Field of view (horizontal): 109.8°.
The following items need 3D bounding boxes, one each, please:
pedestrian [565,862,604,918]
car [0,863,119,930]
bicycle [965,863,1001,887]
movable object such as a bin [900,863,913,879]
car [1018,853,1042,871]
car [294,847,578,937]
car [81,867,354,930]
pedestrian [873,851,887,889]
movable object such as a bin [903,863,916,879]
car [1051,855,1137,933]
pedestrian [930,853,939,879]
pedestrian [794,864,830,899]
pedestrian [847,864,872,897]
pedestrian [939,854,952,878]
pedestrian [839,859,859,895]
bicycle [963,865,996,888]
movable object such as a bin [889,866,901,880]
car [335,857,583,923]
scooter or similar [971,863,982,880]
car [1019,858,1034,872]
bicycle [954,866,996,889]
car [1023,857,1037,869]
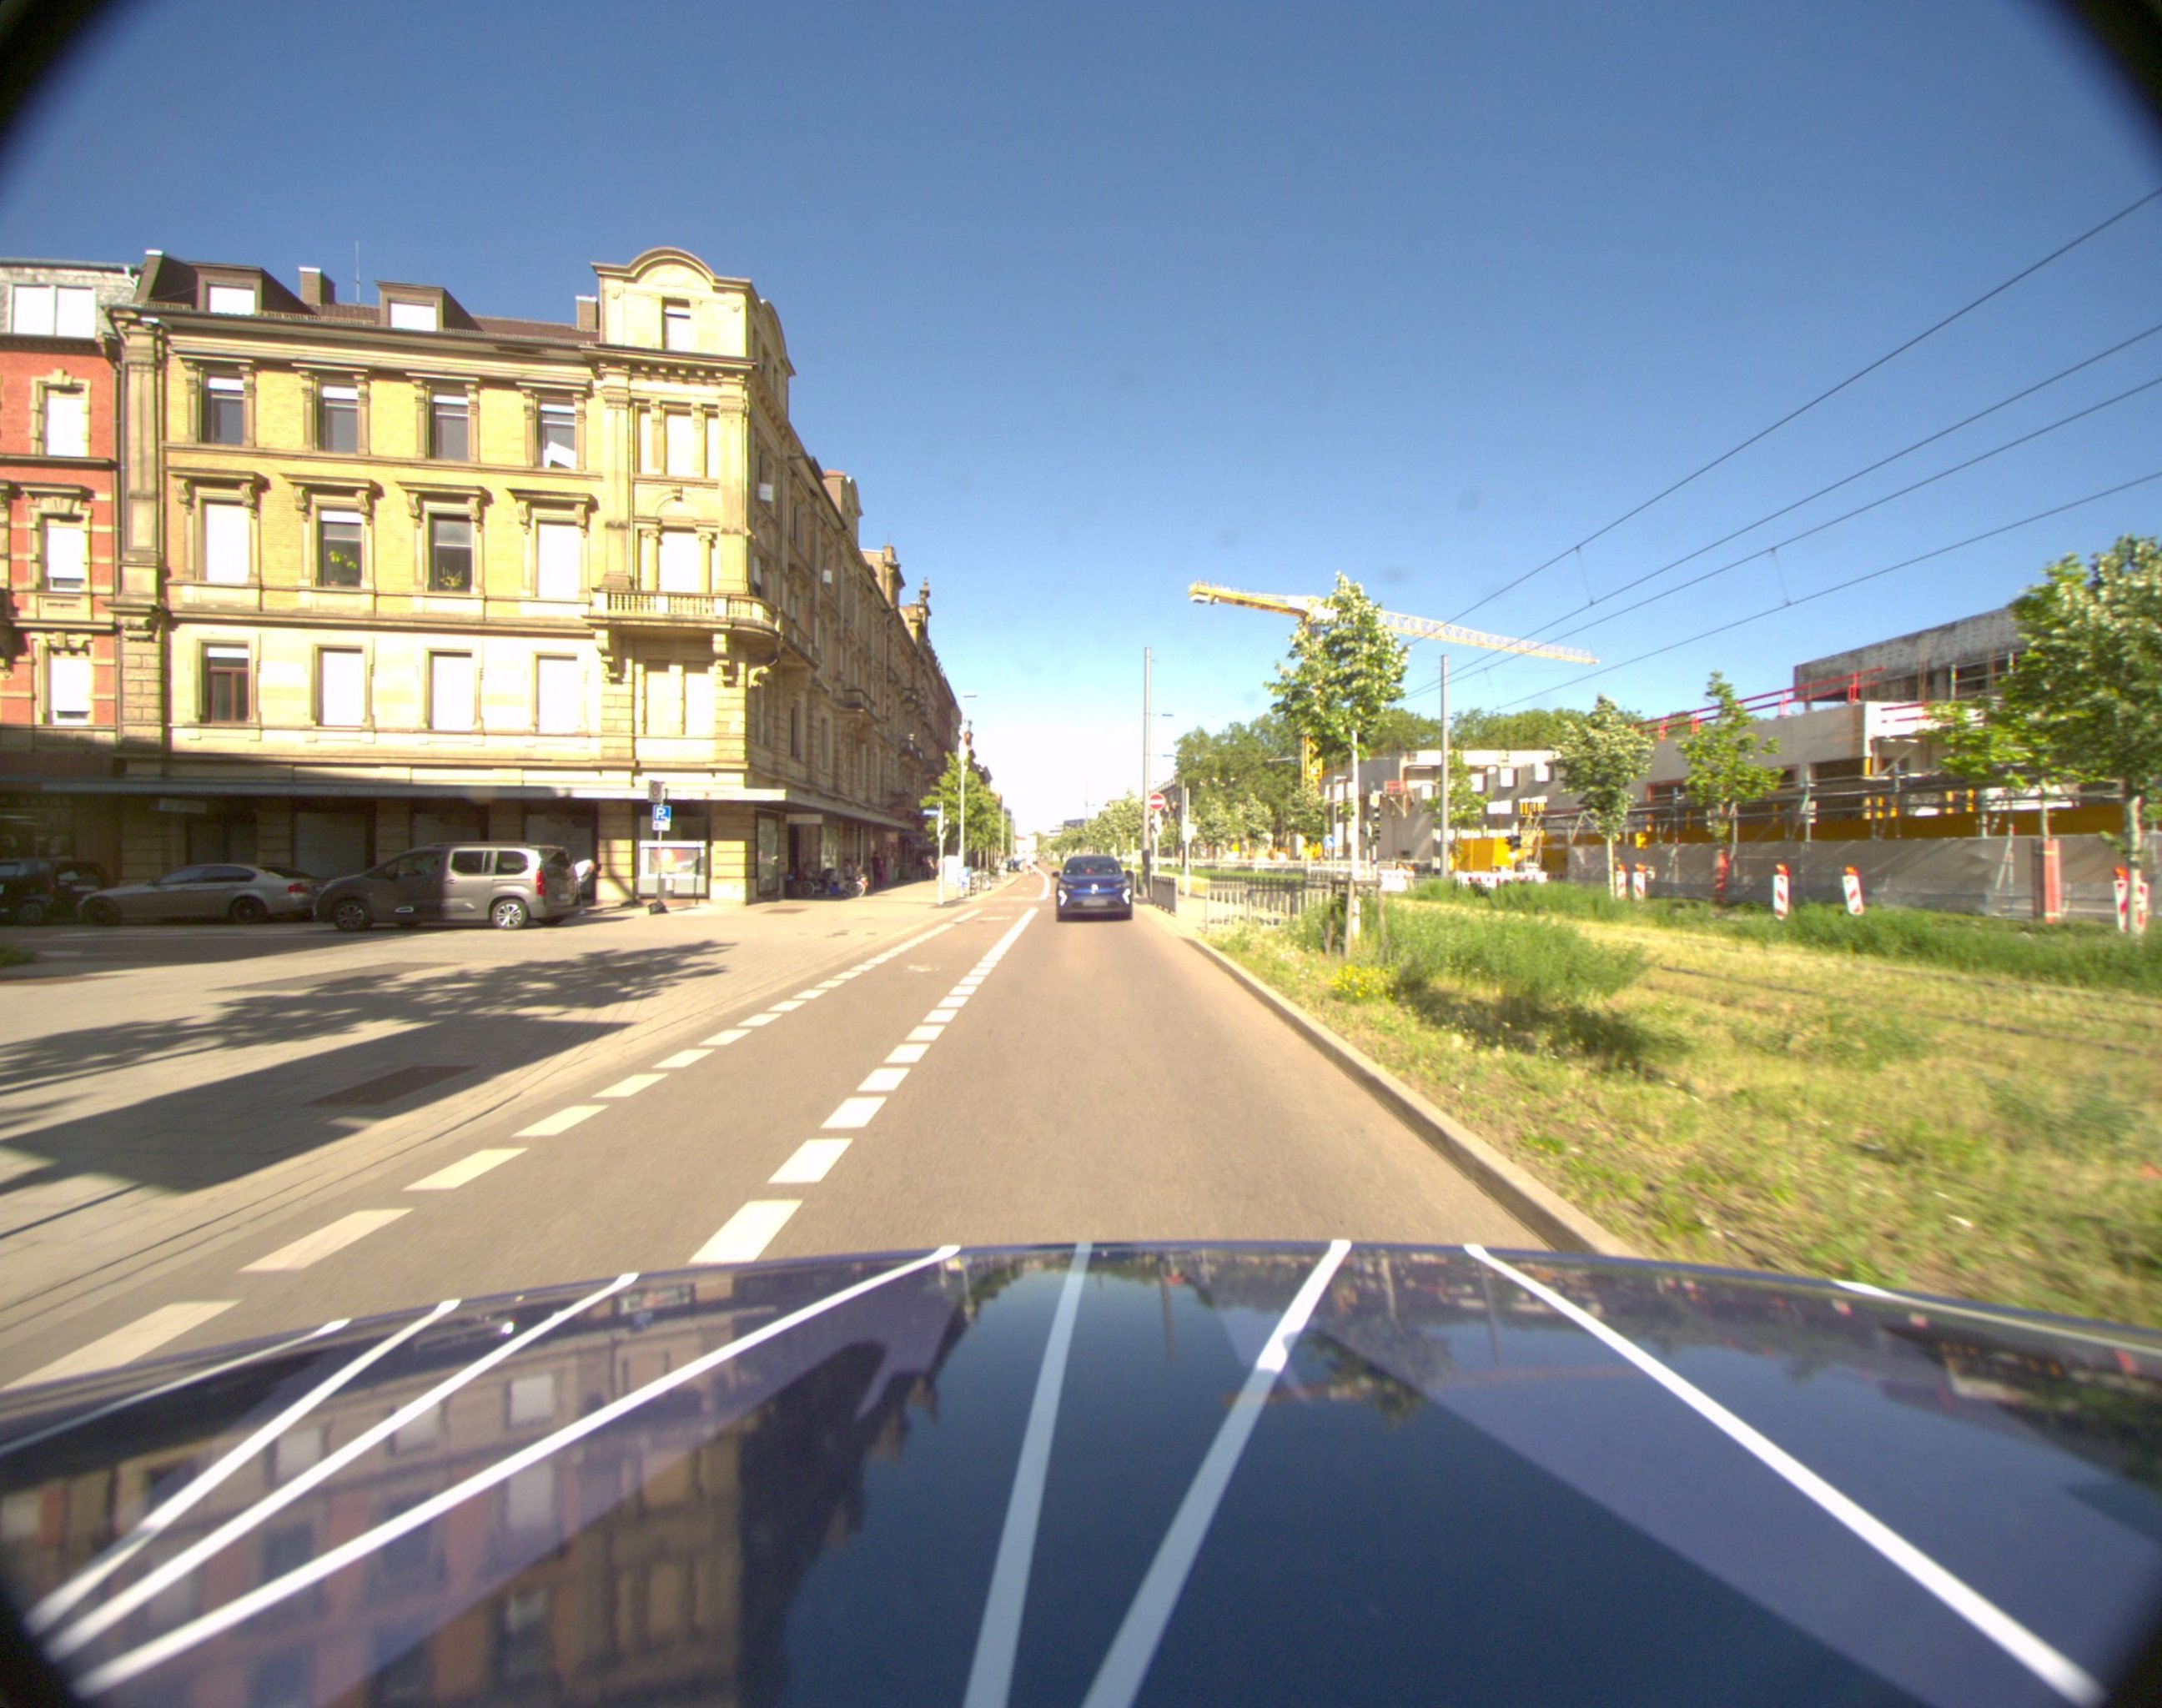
[{"bbox_3d":[-13.246,0.953,20.273,0.683,1.442,0.543,0,2,-7],"label":"pedestrian"},{"bbox_3d":[-24.505,0.949,17.457,2.791,1.486,1.304,0,0,-11],"label":"car"},{"bbox_3d":[-5.389,1.160,41.831,1.870,1.244,0.691,2,1,-3],"label":"bicycle"},{"bbox_3d":[-11.249,1.119,49.027,0.692,1.007,0.587,2,1,2],"label":"movable object such as a bin"},{"bbox_3d":[-5.346,0.832,80.603,1.821,1.783,4.001,-2,1,6],"label":"car"},{"bbox_3d":[-13.312,0.741,15.958,4.168,1.742,1.816,0,0,-10],"label":"car"},{"bbox_3d":[-20.289,1.012,18.027,4.193,1.386,1.556,0,-1,-11],"label":"car"},{"bbox_3d":[-9.401,0.737,35.558,0.512,1.791,0.501,0,0,5],"label":"pedestrian"},{"bbox_3d":[-11.219,1.115,49.653,0.692,0.969,0.587,-1,1,2],"label":"movable object such as a bin"},{"bbox_3d":[0.412,0.843,17.973,1.748,1.613,4.154,-1,0,5],"label":"car"},{"bbox_3d":[-10.374,0.857,53.886,0.512,1.839,0.501,0,0,5],"label":"pedestrian"},{"bbox_3d":[-9.854,1.011,27.875,1.075,1.211,0.702,2,1,-3],"label":"pedestrian"},{"bbox_3d":[-8.531,1.012,29.237,0.718,1.211,0.647,2,1,3],"label":"pedestrian"},{"bbox_3d":[-9.209,0.812,51.676,0.753,1.575,0.808,2,0,-2],"label":"pedestrian"},{"bbox_3d":[-9.130,0.913,29.935,0.574,1.386,0.648,2,1,-4],"label":"pedestrian"},{"bbox_3d":[-5.363,1.188,40.148,1.668,1.104,0.602,2,1,-10],"label":"bicycle"},{"bbox_3d":[-11.389,1.165,46.495,0.606,0.861,0.476,2,1,2],"label":"movable object such as a bin"},{"bbox_3d":[-15.273,0.843,18.925,4.409,1.535,1.851,0,0,-10],"label":"car"},{"bbox_3d":[-7.568,1.295,54.939,0.673,1.213,0.327,0,0,20],"label":"scooter or similar"},{"bbox_3d":[-6.647,1.293,92.524,1.670,1.574,3.748,-2,1,-2],"label":"car"},{"bbox_3d":[-5.393,1.183,38.871,2.055,1.113,0.603,2,1,-3],"label":"bicycle"},{"bbox_3d":[-6.604,1.189,98.232,1.670,1.453,3.748,-2,1,-2],"label":"car"}]
